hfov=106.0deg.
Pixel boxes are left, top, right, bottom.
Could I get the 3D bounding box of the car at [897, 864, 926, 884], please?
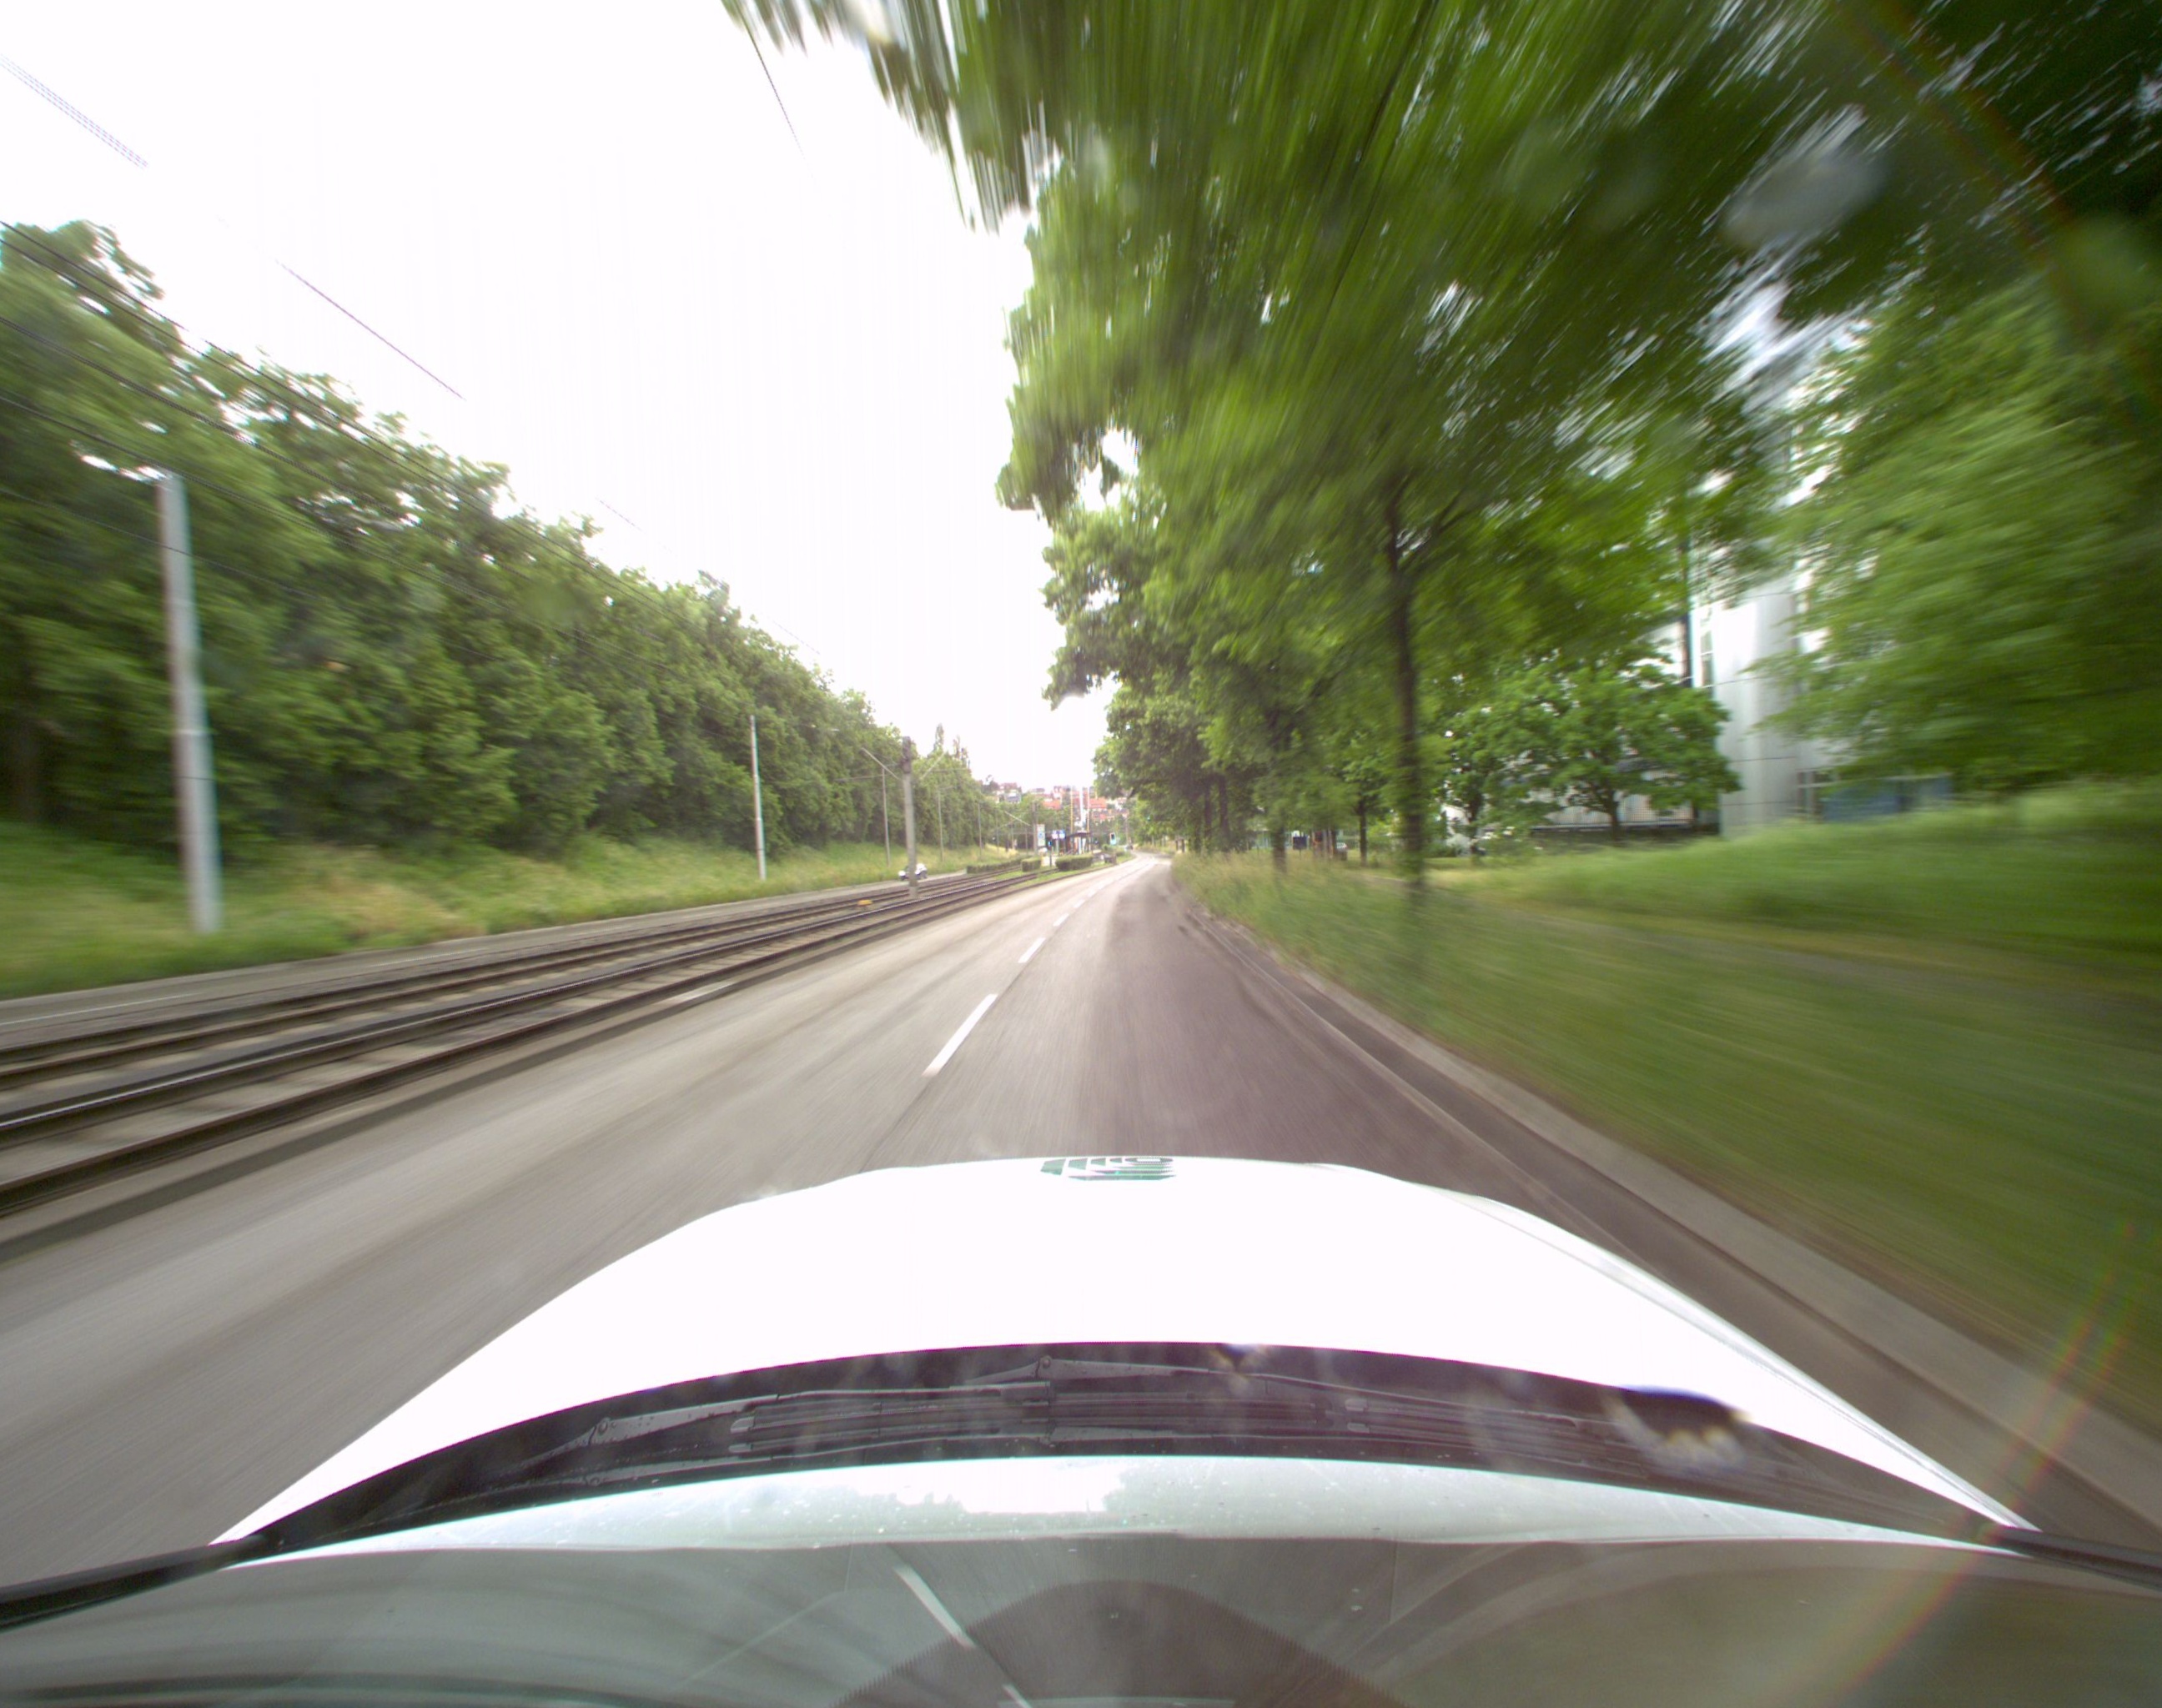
[{"bbox_3d":[-15.470,1.808,74.568,1.779,1.552,3.959,-4,0,-1],"label":"car"}]
